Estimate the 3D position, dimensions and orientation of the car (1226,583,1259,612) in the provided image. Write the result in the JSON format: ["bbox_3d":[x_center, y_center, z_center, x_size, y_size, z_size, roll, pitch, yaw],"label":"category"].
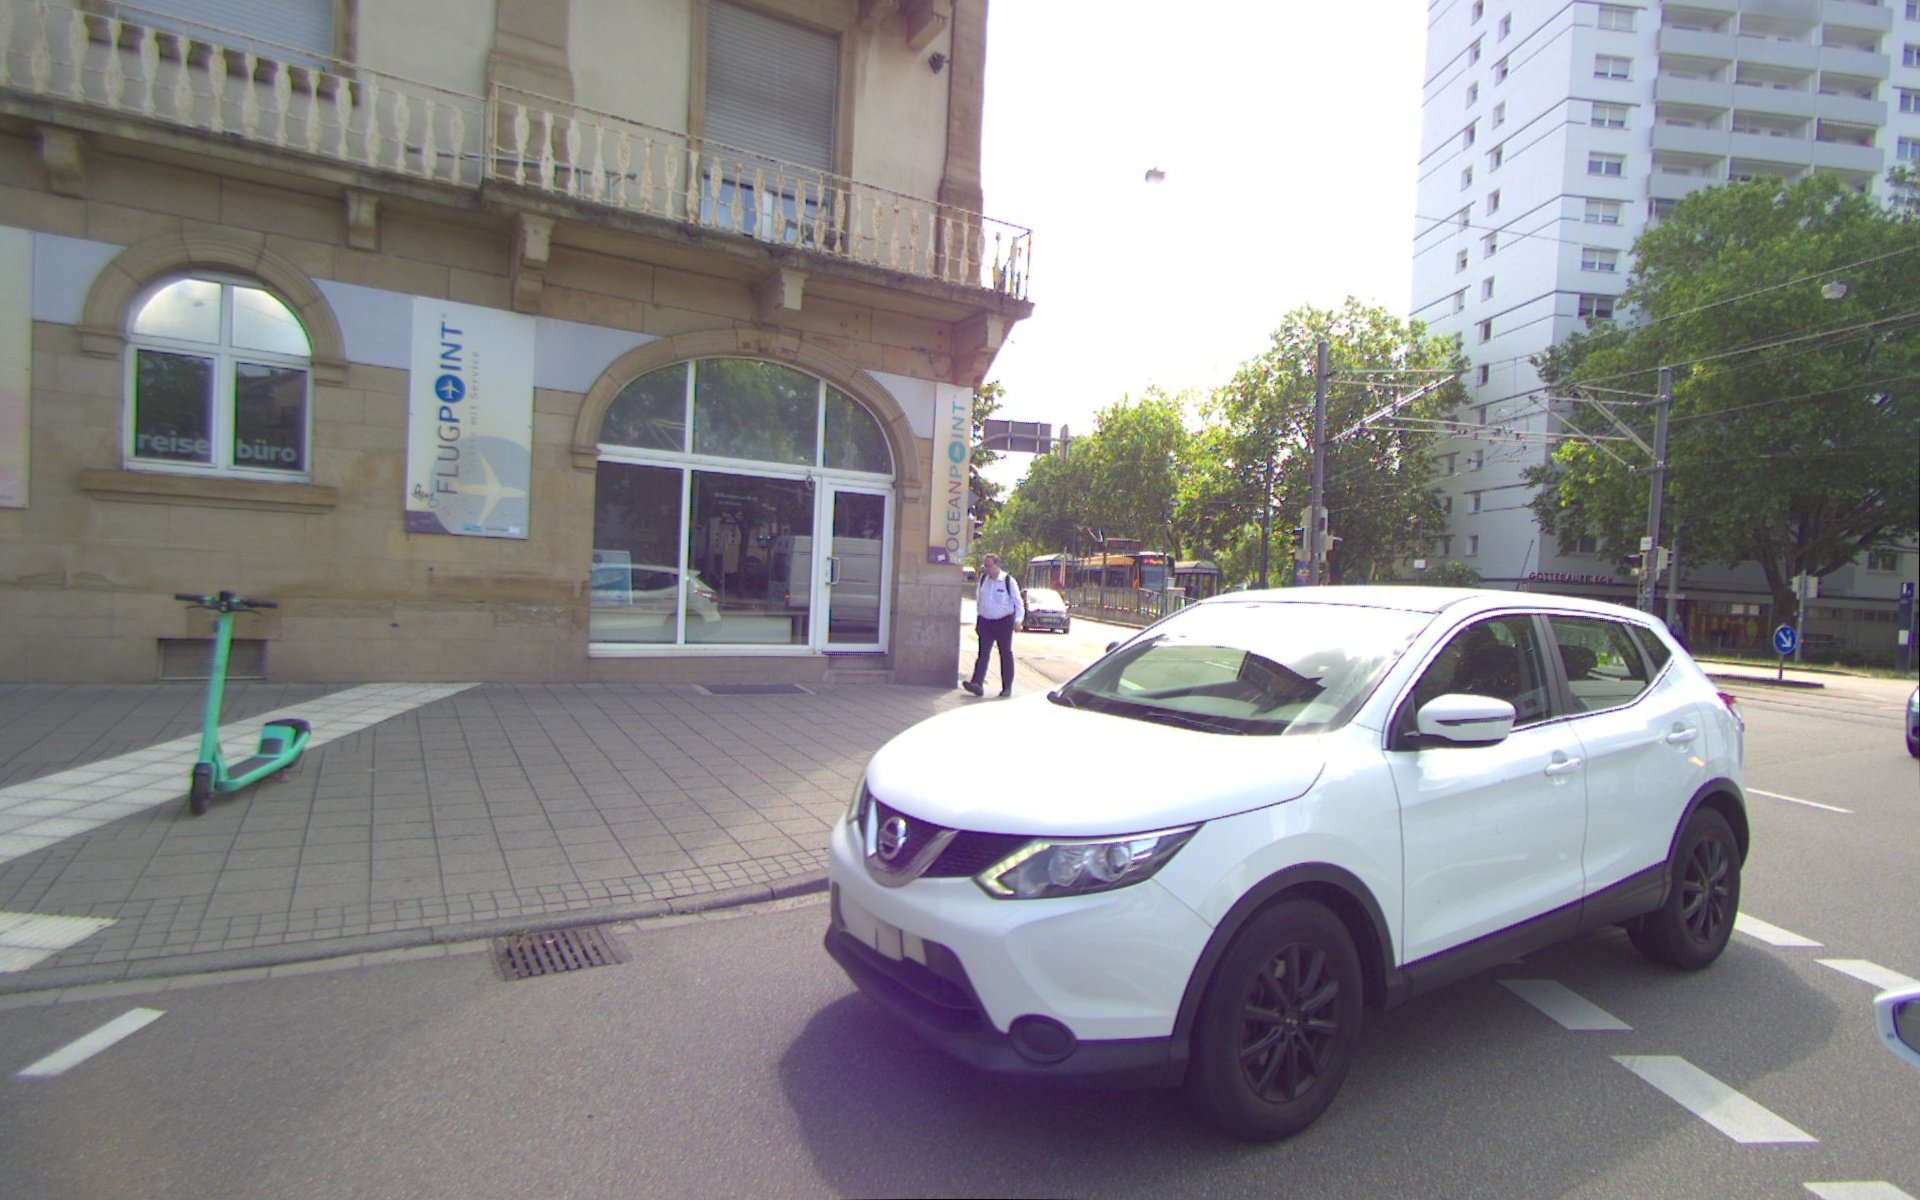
[{"bbox_3d":[29.204,-0.319,103.920,1.779,2.812,4.274,3,1,-6],"label":"car"}]

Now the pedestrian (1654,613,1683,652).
[{"bbox_3d":[29.926,1.369,42.421,0.525,1.620,0.783,2,1,-8],"label":"pedestrian"}]

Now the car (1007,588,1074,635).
[{"bbox_3d":[2.768,0.357,35.196,1.608,1.458,3.639,3,1,-7],"label":"car"}]

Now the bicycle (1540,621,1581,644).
[{"bbox_3d":[30.526,1.642,51.082,1.695,1.023,0.534,3,1,22],"label":"bicycle"}]

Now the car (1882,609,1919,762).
[{"bbox_3d":[11.793,0.946,10.857,3.889,1.561,1.737,2,0,-32],"label":"car"}]

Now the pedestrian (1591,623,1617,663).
[{"bbox_3d":[17.705,1.178,27.625,0.412,1.077,0.437,3,1,9],"label":"pedestrian"}]

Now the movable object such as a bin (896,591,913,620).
[{"bbox_3d":[-2.265,0.211,40.928,0.582,1.133,0.786,2,1,-11],"label":"movable object such as a bin"}]

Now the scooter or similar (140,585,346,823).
[{"bbox_3d":[-4.064,0.537,5.785,0.473,1.161,1.250,3,3,-12],"label":"scooter or similar"}]

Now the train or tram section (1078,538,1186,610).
[{"bbox_3d":[9.743,-1.476,58.949,2.763,3.632,13.003,3,1,-5],"label":"train or tram section"}]

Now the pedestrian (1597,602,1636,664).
[{"bbox_3d":[18.289,0.909,28.002,0.613,1.688,0.676,3,1,10],"label":"pedestrian"}]

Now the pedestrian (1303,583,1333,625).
[{"bbox_3d":[16.008,0.157,44.941,0.835,1.804,1.044,3,1,-5],"label":"pedestrian"}]

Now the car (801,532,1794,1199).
[{"bbox_3d":[1.550,0.673,4.126,3.977,1.603,1.760,1,0,-33],"label":"car"}]

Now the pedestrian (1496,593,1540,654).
[{"bbox_3d":[18.176,0.749,32.736,0.814,1.924,0.845,3,1,-6],"label":"pedestrian"}]

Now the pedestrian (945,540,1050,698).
[{"bbox_3d":[0.467,0.234,12.750,0.895,1.884,0.798,5,1,-30],"label":"pedestrian"}]

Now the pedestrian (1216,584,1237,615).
[{"bbox_3d":[15.744,-0.051,59.336,0.844,1.798,0.876,3,1,-6],"label":"pedestrian"}]

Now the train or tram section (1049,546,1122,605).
[{"bbox_3d":[8.638,-1.689,70.603,2.752,3.632,10.393,3,1,-6],"label":"train or tram section"}]
